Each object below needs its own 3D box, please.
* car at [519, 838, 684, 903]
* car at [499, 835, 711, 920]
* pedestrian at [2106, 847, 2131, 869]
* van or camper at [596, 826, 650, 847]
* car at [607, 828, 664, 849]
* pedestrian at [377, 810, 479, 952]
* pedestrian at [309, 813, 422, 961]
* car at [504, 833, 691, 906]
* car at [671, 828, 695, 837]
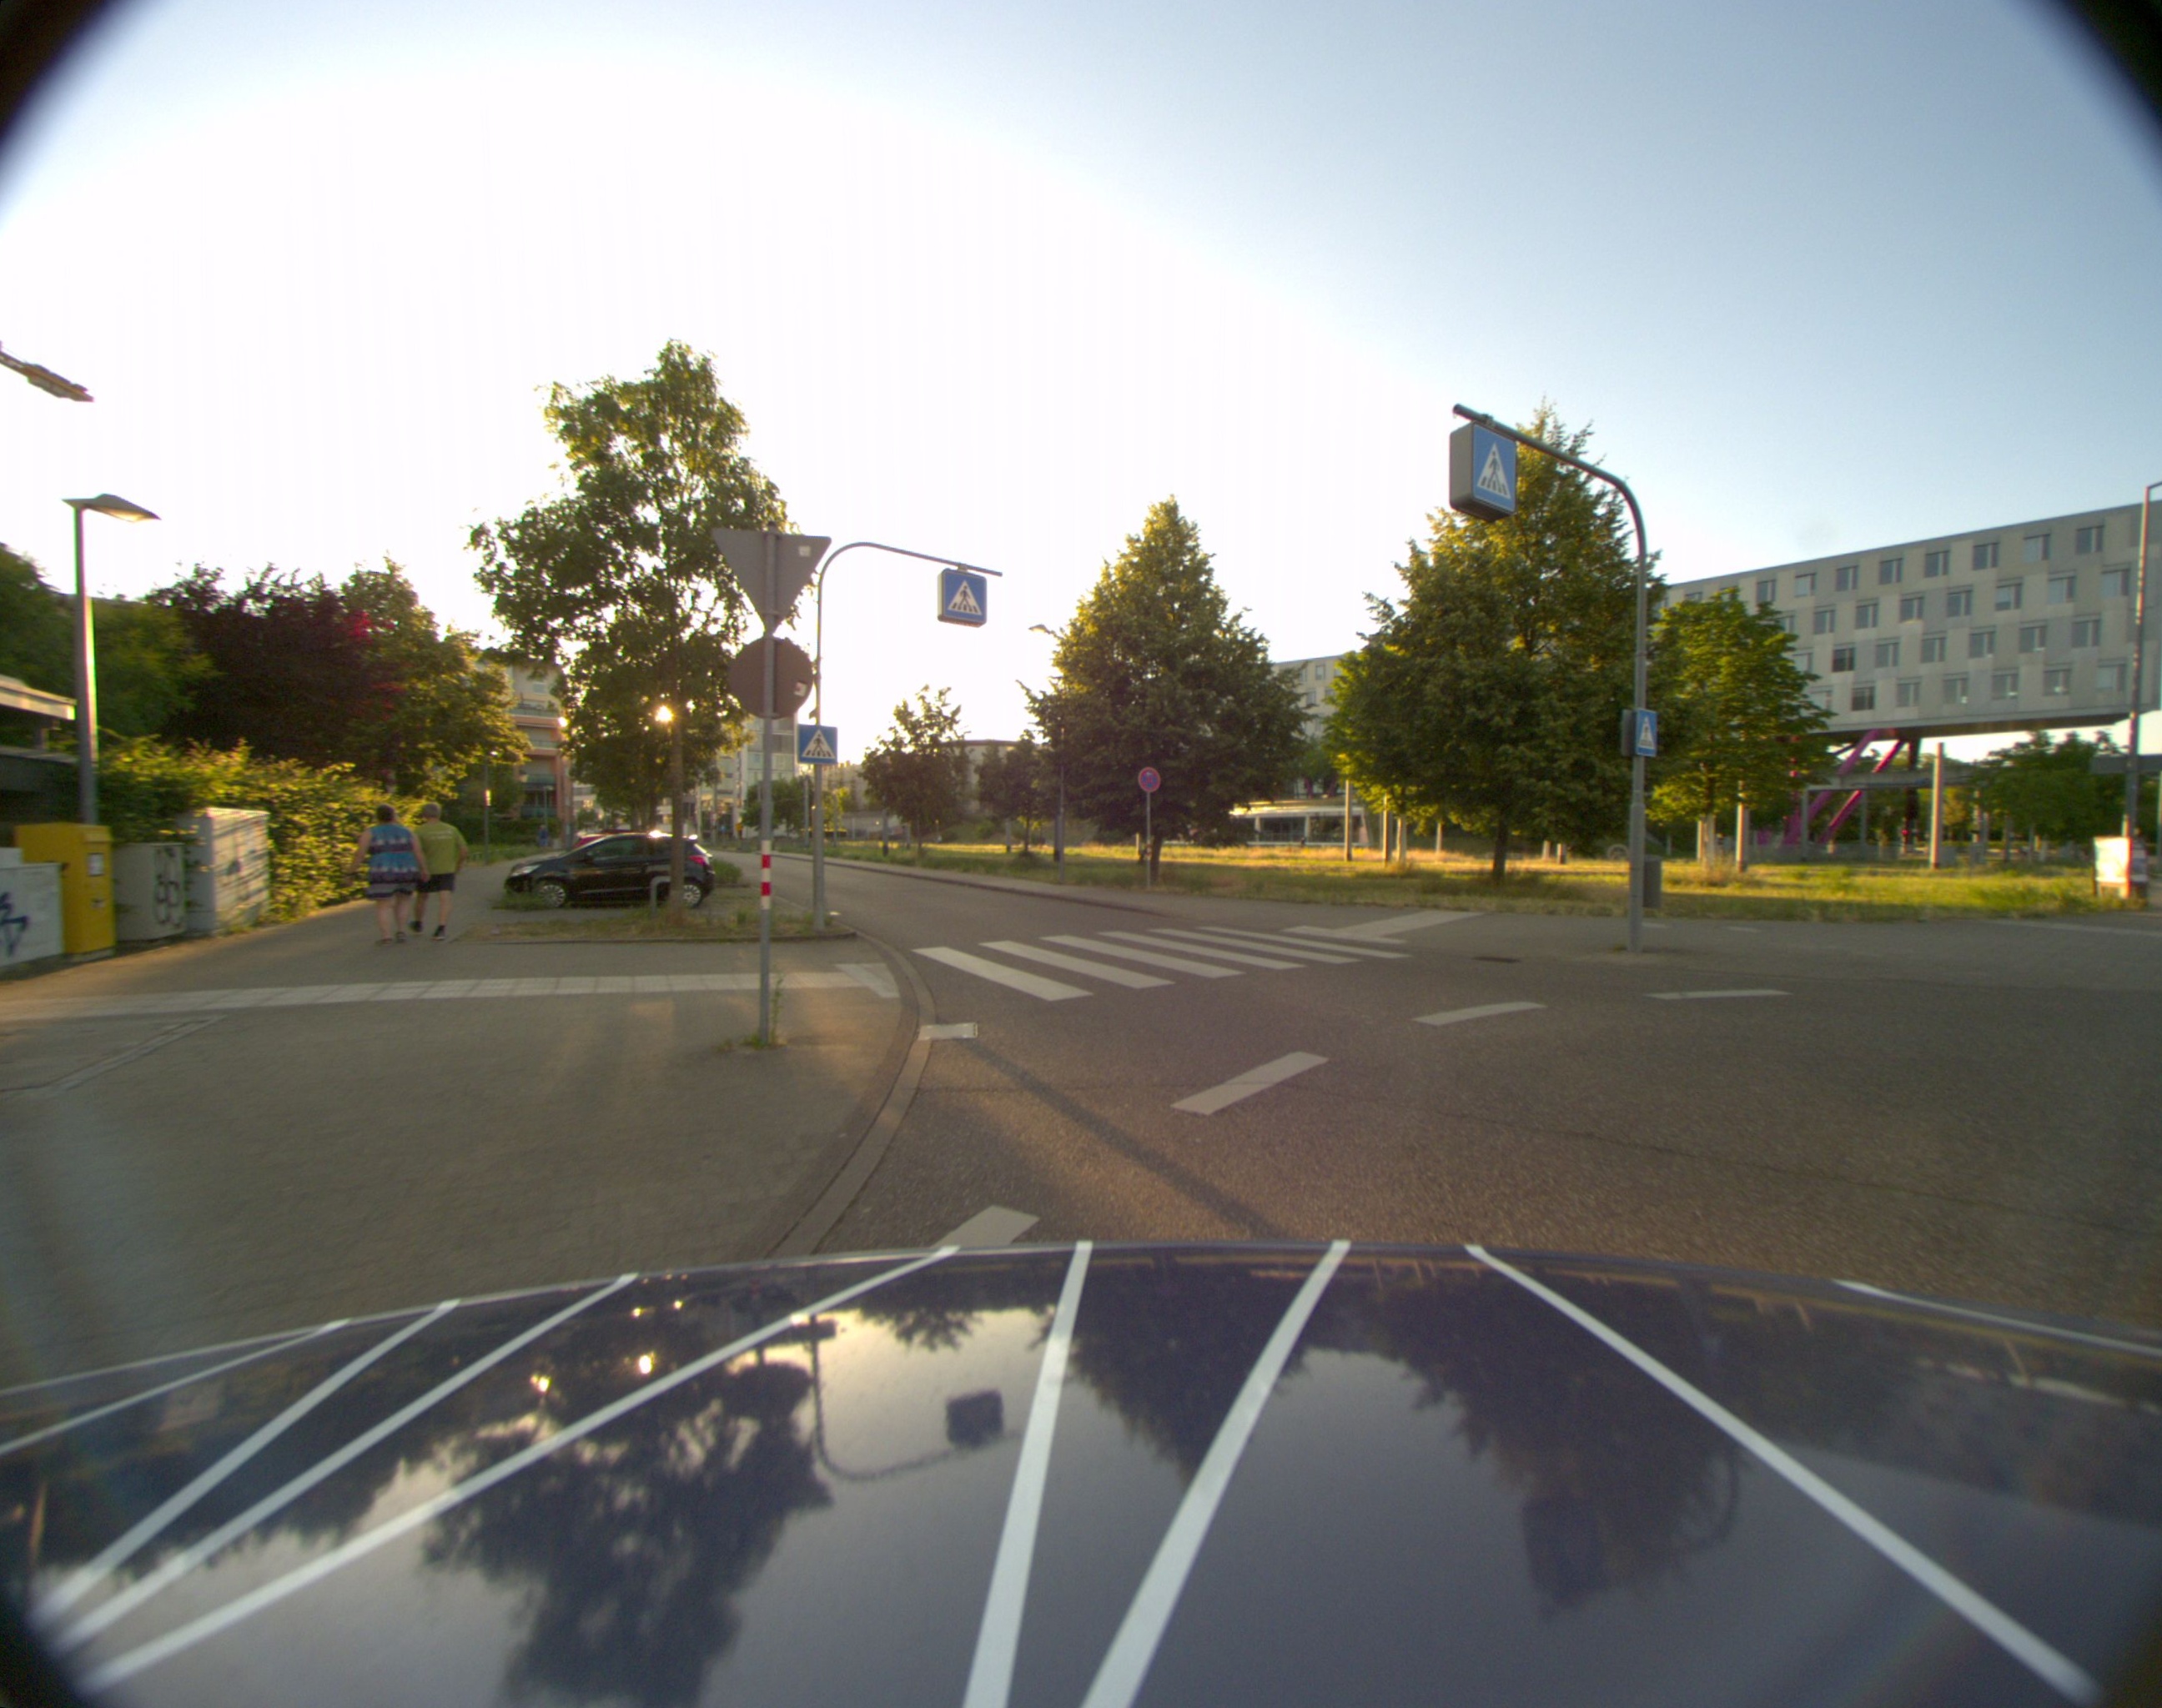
[{"bbox_3d":[-12.090,0.365,19.314,3.416,1.492,1.590,0,2,-32],"label":"car"},{"bbox_3d":[-9.394,0.390,15.200,3.416,1.513,1.686,0,2,-32],"label":"car"},{"bbox_3d":[90.787,0.356,66.489,1.054,1.824,0.897,2,3,41],"label":"pedestrian"},{"bbox_3d":[-39.383,-1.540,65.349,3.886,1.685,1.829,-2,3,-34],"label":"van or camper"},{"bbox_3d":[-37.182,-1.291,63.418,3.886,1.685,1.698,-2,3,-37],"label":"car"},{"bbox_3d":[-8.025,0.316,9.346,0.742,1.657,0.625,2,1,18],"label":"pedestrian"},{"bbox_3d":[-8.124,0.350,8.640,0.711,1.591,0.657,2,2,18],"label":"pedestrian"},{"bbox_3d":[-10.785,0.295,17.141,3.416,1.492,1.590,0,2,-32],"label":"car"},{"bbox_3d":[-76.228,-4.162,145.637,3.886,1.604,1.698,-2,3,-34],"label":"car"}]
